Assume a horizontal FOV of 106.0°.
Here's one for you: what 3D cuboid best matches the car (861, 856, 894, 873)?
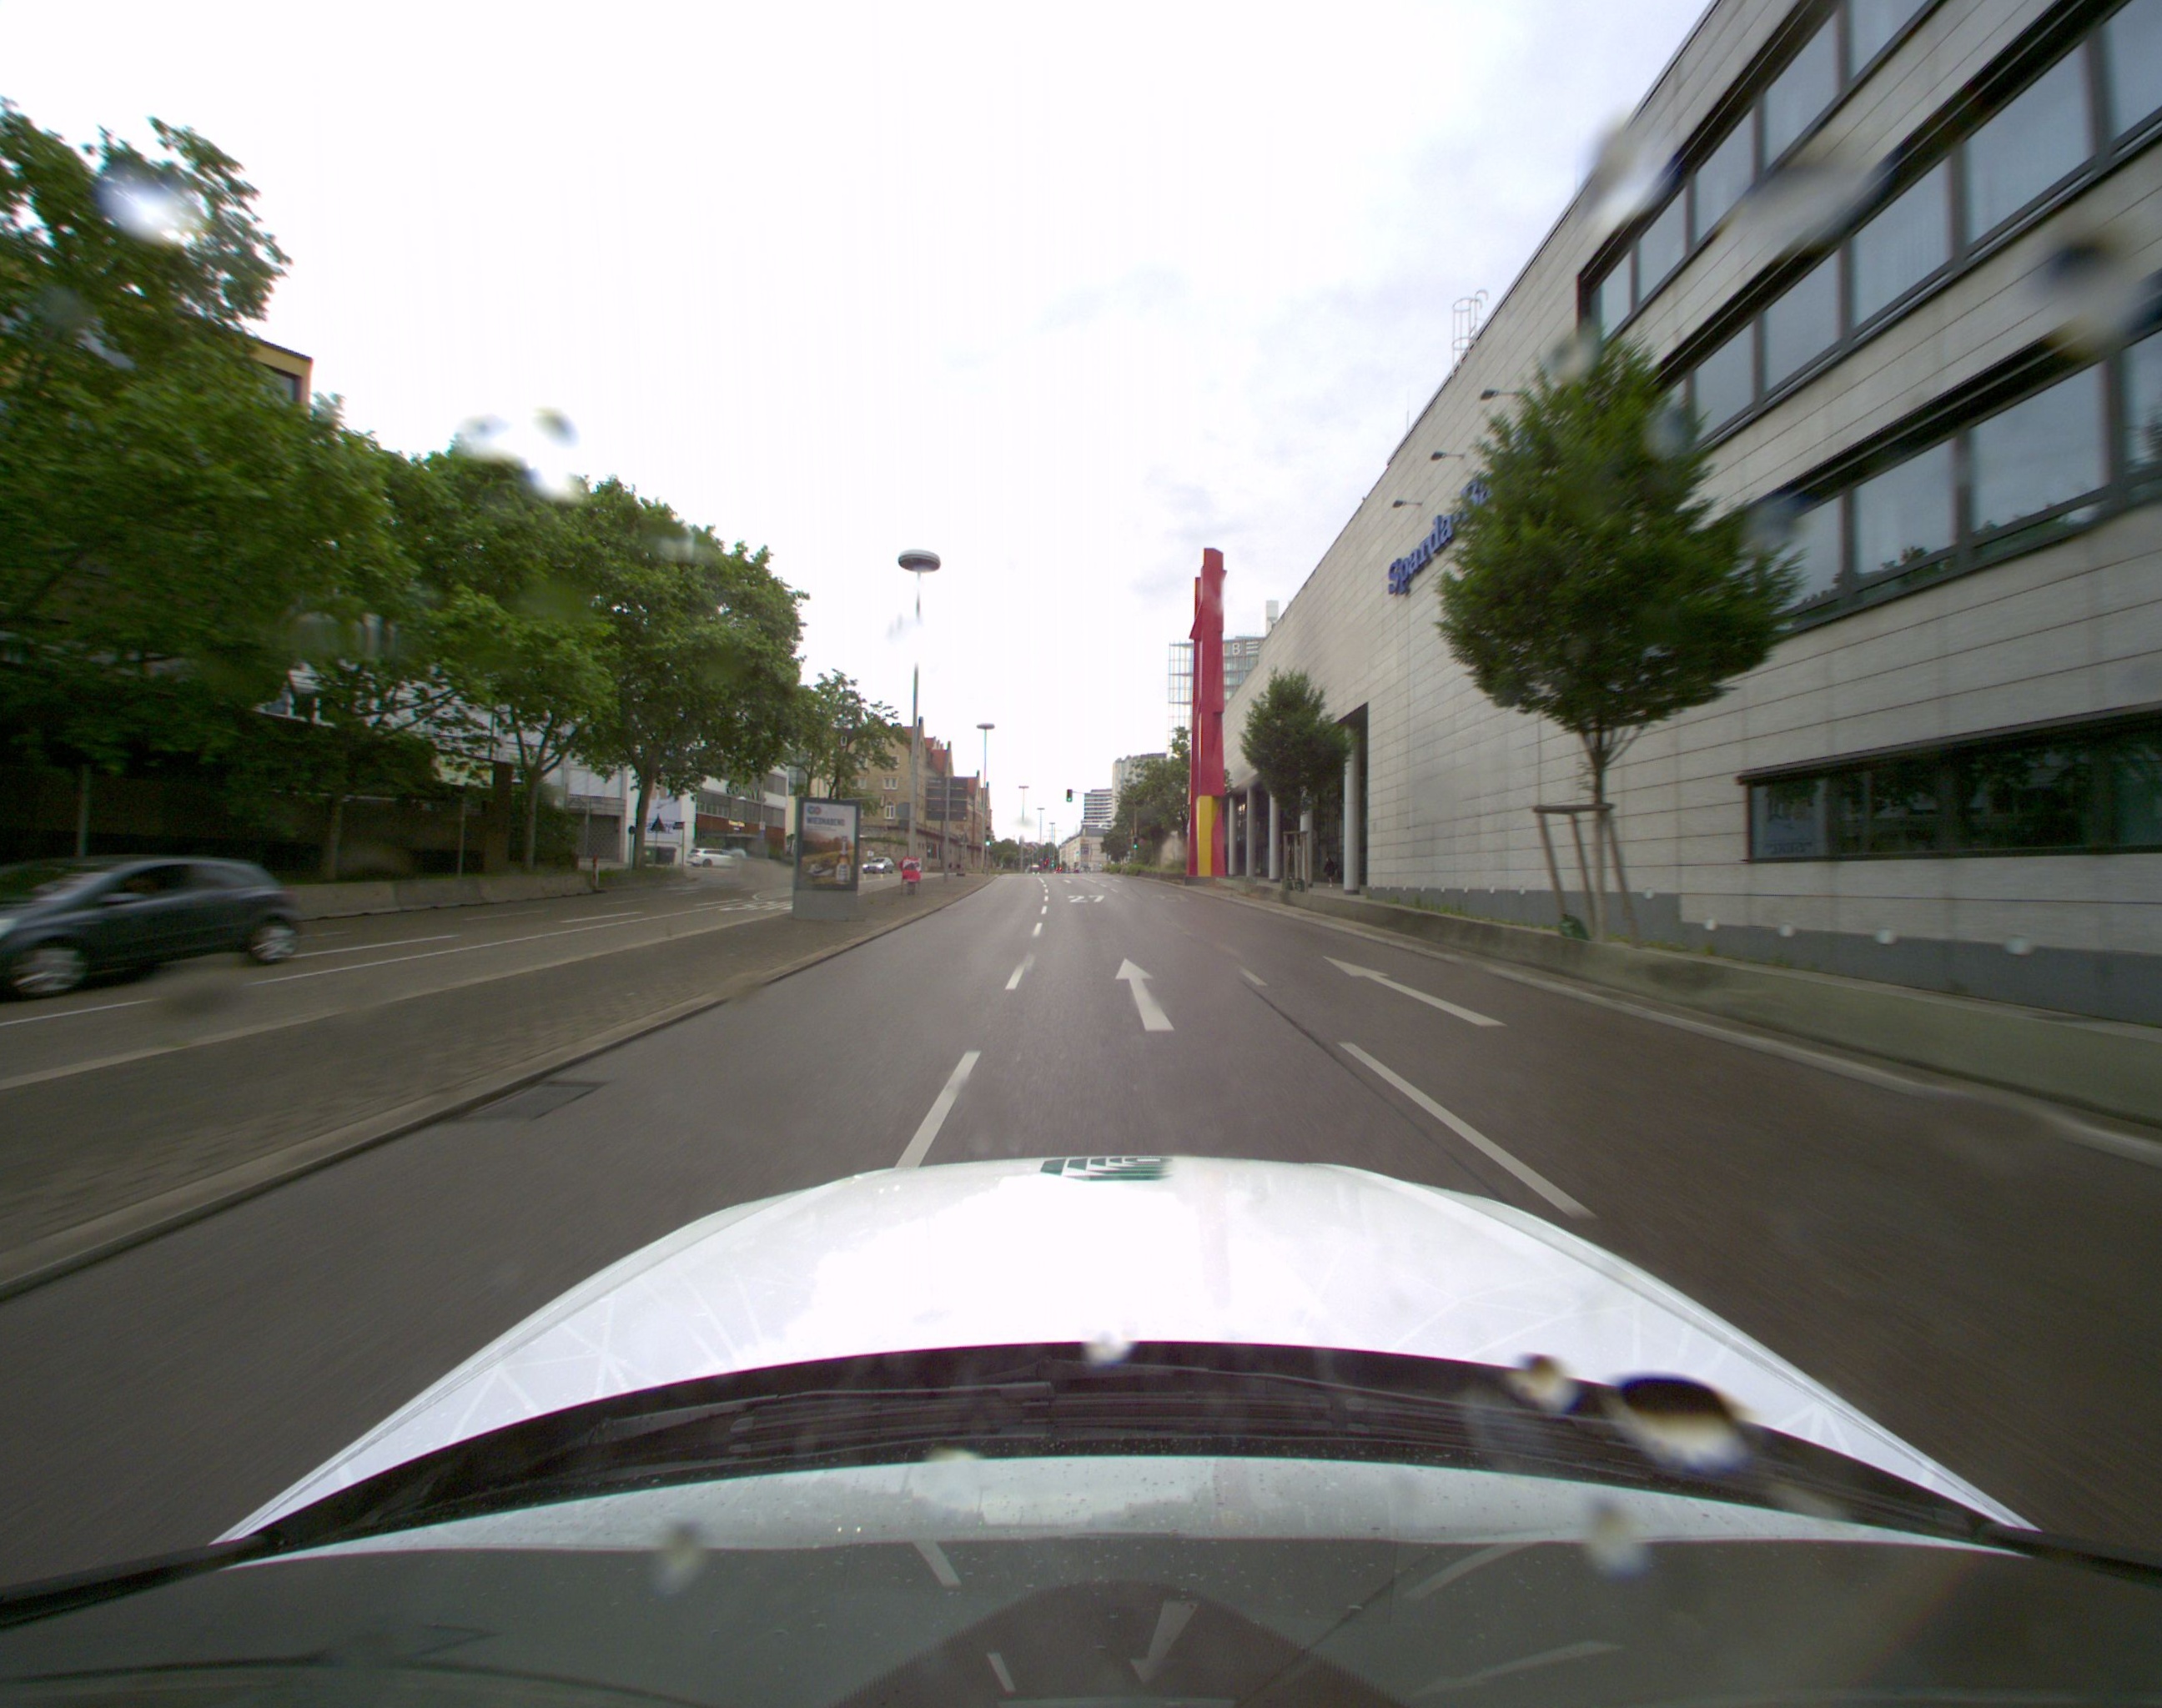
[{"bbox_3d":[-17.541,0.897,70.401,1.990,1.447,4.872,0,0,-5],"label":"car"}]

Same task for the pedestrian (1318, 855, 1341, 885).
[{"bbox_3d":[13.460,0.876,44.101,0.968,1.586,0.841,0,-1,-4],"label":"pedestrian"}]

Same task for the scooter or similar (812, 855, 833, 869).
[{"bbox_3d":[-24.375,0.736,76.814,1.760,1.247,0.367,4,-3,-29],"label":"scooter or similar"}]

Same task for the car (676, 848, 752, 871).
[{"bbox_3d":[-27.768,0.399,61.730,1.974,1.653,4.874,1,1,39],"label":"car"}]

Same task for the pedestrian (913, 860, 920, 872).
[{"bbox_3d":[-21.117,1.541,104.456,0.752,1.478,0.714,0,-1,0],"label":"pedestrian"}]

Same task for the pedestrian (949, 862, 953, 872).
[{"bbox_3d":[-21.427,2.134,134.115,0.638,1.746,0.620,0,-1,-2],"label":"pedestrian"}]

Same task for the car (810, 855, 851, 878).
[{"bbox_3d":[-17.463,0.861,56.895,1.749,1.519,4.166,0,0,-3],"label":"car"}]

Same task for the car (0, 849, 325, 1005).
[{"bbox_3d":[-11.654,0.712,9.510,1.930,1.500,4.167,-1,1,-4],"label":"car"}]

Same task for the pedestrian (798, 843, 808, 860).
[{"bbox_3d":[-27.955,-0.258,81.948,0.766,1.641,0.841,0,-1,0],"label":"pedestrian"}]

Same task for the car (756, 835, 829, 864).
[{"bbox_3d":[-31.564,-0.510,89.164,6.879,2.275,2.515,7,2,1],"label":"car"}]
